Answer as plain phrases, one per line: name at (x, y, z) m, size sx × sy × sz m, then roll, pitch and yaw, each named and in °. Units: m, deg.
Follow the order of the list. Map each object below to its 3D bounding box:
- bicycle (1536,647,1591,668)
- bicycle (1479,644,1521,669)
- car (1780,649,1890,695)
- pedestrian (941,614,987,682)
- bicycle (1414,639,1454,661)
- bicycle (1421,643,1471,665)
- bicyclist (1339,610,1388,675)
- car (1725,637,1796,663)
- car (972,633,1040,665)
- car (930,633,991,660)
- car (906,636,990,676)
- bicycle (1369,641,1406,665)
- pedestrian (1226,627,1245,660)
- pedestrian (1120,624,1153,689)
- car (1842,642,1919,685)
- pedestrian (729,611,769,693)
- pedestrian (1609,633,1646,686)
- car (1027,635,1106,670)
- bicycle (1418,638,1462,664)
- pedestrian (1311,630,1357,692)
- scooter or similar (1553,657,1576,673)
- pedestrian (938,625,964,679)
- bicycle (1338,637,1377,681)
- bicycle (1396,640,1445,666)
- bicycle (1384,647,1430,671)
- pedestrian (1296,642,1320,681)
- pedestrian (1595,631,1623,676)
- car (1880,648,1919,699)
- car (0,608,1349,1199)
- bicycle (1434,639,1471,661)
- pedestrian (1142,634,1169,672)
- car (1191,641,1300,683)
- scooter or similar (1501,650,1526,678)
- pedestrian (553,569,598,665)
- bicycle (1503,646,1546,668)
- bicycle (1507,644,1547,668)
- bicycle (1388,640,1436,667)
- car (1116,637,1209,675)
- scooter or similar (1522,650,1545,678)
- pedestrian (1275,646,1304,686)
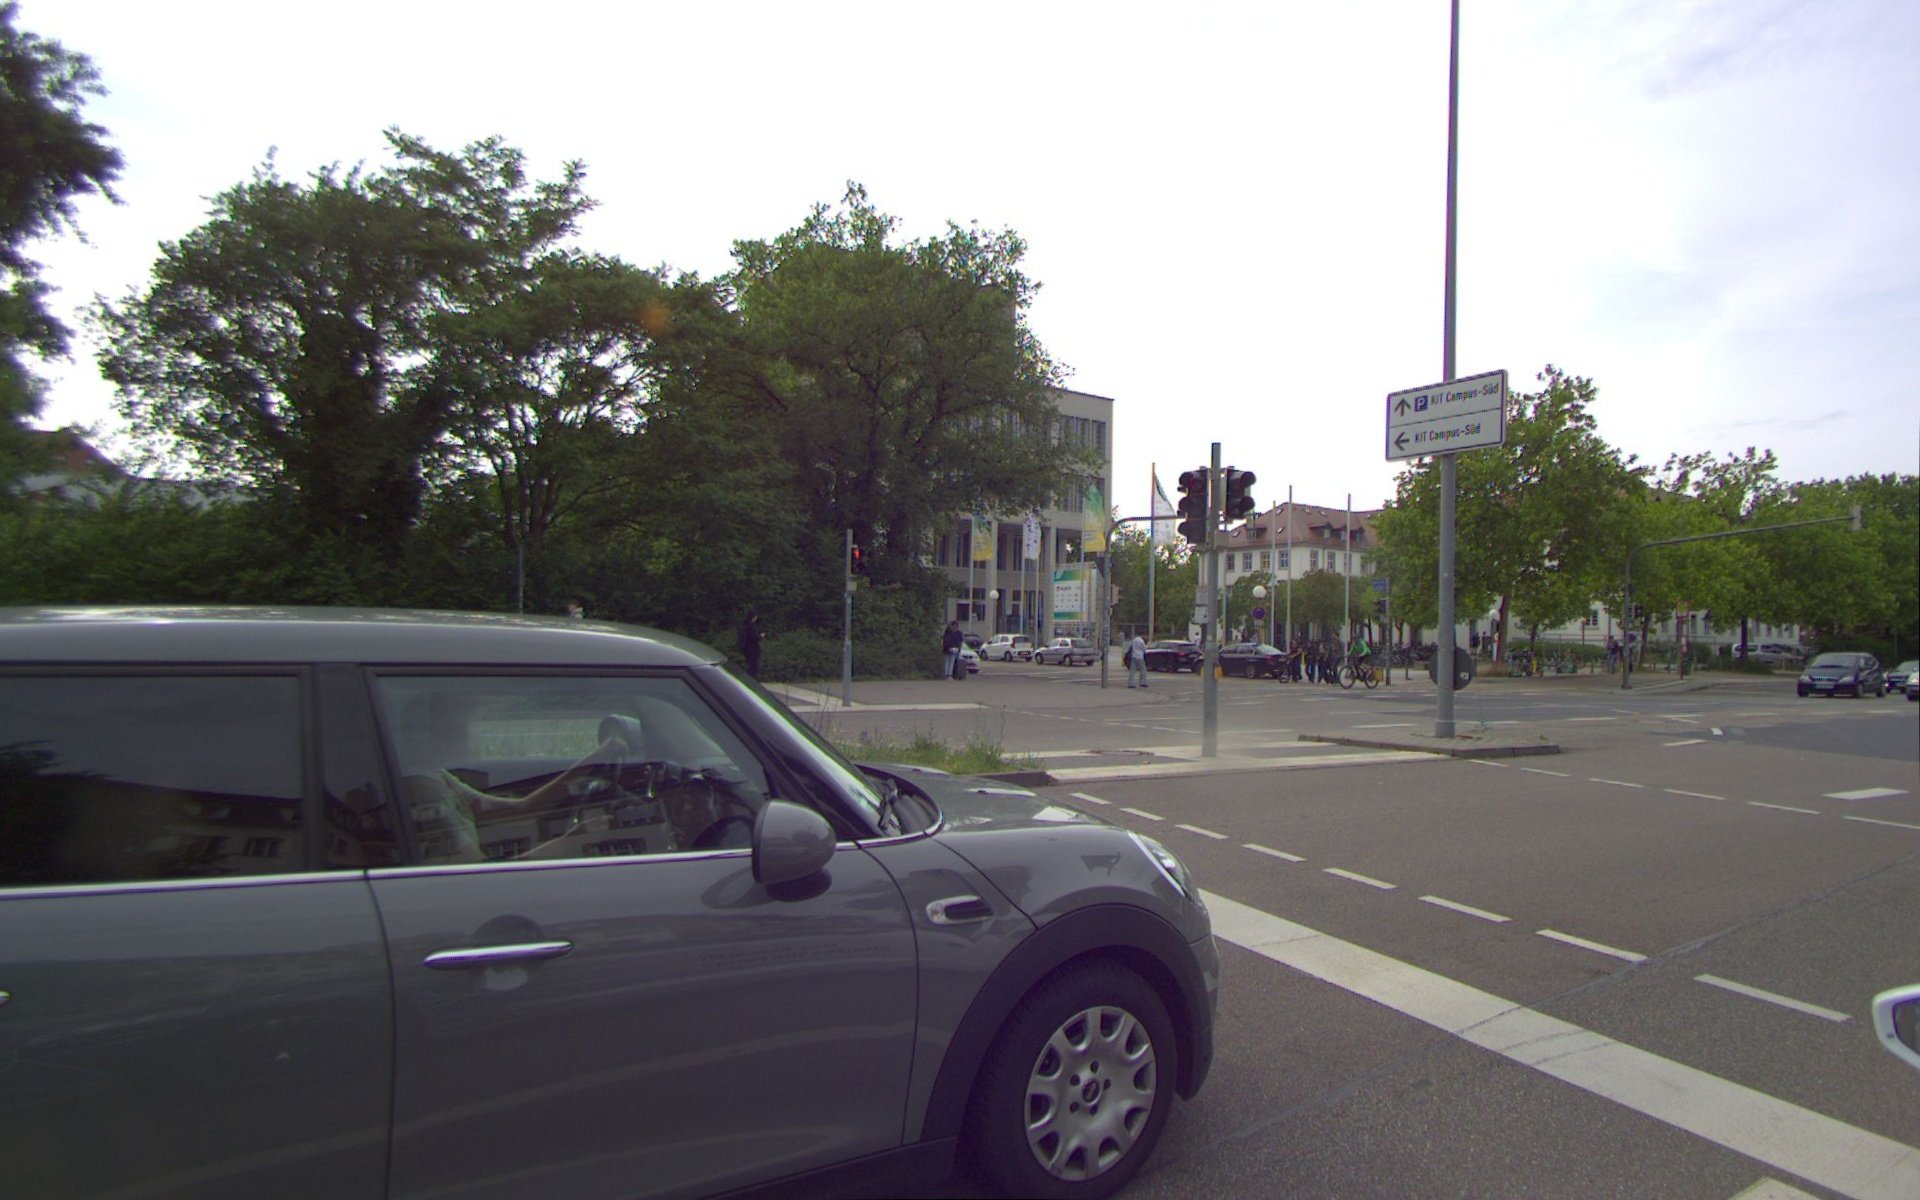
bicycle at (35.731, 3.385, 59.505) m, size 0.715 × 1.190 × 2.727 m, roll 2°, pitch -2°, yaw -37°
bicycle at (36.165, 3.750, 67.281) m, size 0.715 × 1.615 × 2.382 m, roll 2°, pitch -2°, yaw -37°
car at (30.924, 2.520, 35.489) m, size 3.653 × 1.483 × 1.844 m, roll 2°, pitch -2°, yaw -30°
pedestrian at (0.143, 1.491, 31.653) m, size 1.022 × 2.040 × 1.099 m, roll 2°, pitch 0°, yaw 25°
bicycle at (35.072, 3.685, 74.396) m, size 0.907 × 1.579 × 3.079 m, roll 1°, pitch -2°, yaw -16°
bicycle at (30.421, 3.369, 62.937) m, size 0.715 × 1.347 × 2.797 m, roll 2°, pitch -2°, yaw -37°
bicyclist at (13.281, 1.378, 33.030) m, size 1.165 × 2.040 × 1.277 m, roll 2°, pitch 0°, yaw 37°
car at (56.708, 3.499, 71.195) m, size 1.636 × 1.623 × 3.561 m, roll 2°, pitch 0°, yaw -35°
car at (2.594, 2.776, 56.959) m, size 1.835 × 1.706 × 3.962 m, roll 2°, pitch -2°, yaw -35°
car at (-0.009, 2.820, 61.015) m, size 1.869 × 1.573 × 3.964 m, roll 2°, pitch -2°, yaw -33°
car at (-0.532, 2.270, 41.390) m, size 1.844 × 1.469 × 3.562 m, roll 2°, pitch -1°, yaw -34°
bicycle at (29.516, 3.659, 69.389) m, size 0.907 × 1.579 × 2.658 m, roll 1°, pitch -2°, yaw -16°
pedestrian at (17.335, 2.762, 63.217) m, size 0.783 × 2.040 × 1.092 m, roll -1°, pitch -3°, yaw 39°
pedestrian at (5.775, 1.847, 32.845) m, size 0.844 × 2.086 × 0.662 m, roll 2°, pitch -2°, yaw -34°
car at (37.713, 2.553, 40.482) m, size 3.949 × 1.641 × 1.986 m, roll 2°, pitch -2°, yaw -28°
pedestrian at (-4.535, 1.113, 21.618) m, size 0.645 × 1.717 × 0.586 m, roll 2°, pitch 0°, yaw -31°
pedestrian at (25.918, 2.305, 38.994) m, size 1.000 × 2.040 × 0.888 m, roll 2°, pitch -2°, yaw -36°
car at (5.557, 2.714, 52.732) m, size 1.980 × 1.601 × 3.961 m, roll 2°, pitch 0°, yaw -34°
bicycle at (30.712, 3.244, 64.272) m, size 0.916 × 1.579 × 2.421 m, roll 3°, pitch -2°, yaw -43°
pedestrian at (12.832, 2.060, 34.476) m, size 1.165 × 2.040 × 1.138 m, roll 2°, pitch 0°, yaw 37°
scooter or similar at (28.838, 3.092, 47.925) m, size 1.274 × 0.703 × 0.404 m, roll 1°, pitch 0°, yaw -31°
pedestrian at (-0.263, 1.605, 30.670) m, size 0.598 × 1.627 × 0.497 m, roll 2°, pitch -5°, yaw -42°
bicycle at (13.185, 1.934, 33.254) m, size 0.597 × 1.351 × 2.303 m, roll 2°, pitch 0°, yaw 37°
bicycle at (28.659, 3.296, 62.519) m, size 0.916 × 1.579 × 2.633 m, roll 3°, pitch -2°, yaw -43°
bicycle at (26.787, 3.543, 60.209) m, size 0.715 × 1.371 × 2.466 m, roll 2°, pitch -2°, yaw -37°
pedestrian at (13.528, 2.395, 39.021) m, size 0.687 × 1.447 × 0.999 m, roll 2°, pitch 0°, yaw 28°
pedestrian at (30.521, 2.503, 47.235) m, size 0.919 × 2.040 × 0.795 m, roll 2°, pitch 0°, yaw -40°
car at (31.782, 2.362, 32.250) m, size 4.220 × 1.549 × 1.986 m, roll 2°, pitch -2°, yaw -28°
car at (-0.883, 0.731, 2.593) m, size 3.662 × 1.335 × 1.614 m, roll 2°, pitch -2°, yaw -30°
bicycle at (36.782, 3.695, 75.067) m, size 0.907 × 1.579 × 2.658 m, roll 1°, pitch -2°, yaw -16°
pedestrian at (10.568, 2.857, 54.348) m, size 1.007 × 2.040 × 0.996 m, roll 2°, pitch -2°, yaw -34°
car at (12.159, 2.611, 43.010) m, size 1.982 × 1.491 × 4.111 m, roll 2°, pitch 0°, yaw -37°
scooter or similar at (23.379, 2.700, 42.404) m, size 1.306 × 1.155 × 0.358 m, roll 2°, pitch -2°, yaw -34°
pedestrian at (-8.415, 0.391, 21.963) m, size 0.811 × 2.040 × 0.904 m, roll 2°, pitch -2°, yaw -26°
bicycle at (31.659, 3.189, 56.348) m, size 2.005 × 1.168 × 0.718 m, roll -1°, pitch -2°, yaw 39°
bicycle at (39.524, 3.887, 70.069) m, size 0.715 × 1.615 × 2.382 m, roll 2°, pitch -2°, yaw -37°
bicycle at (27.421, 3.225, 60.995) m, size 0.774 × 1.579 × 2.637 m, roll 2°, pitch -2°, yaw -38°
car at (9.422, 2.575, 46.921) m, size 1.982 × 1.491 × 3.958 m, roll 2°, pitch 0°, yaw -37°
scooter or similar at (24.719, 2.753, 43.286) m, size 1.306 × 1.155 × 0.358 m, roll 2°, pitch -2°, yaw -34°
pedestrian at (13.040, 2.607, 39.759) m, size 0.812 × 1.533 × 0.972 m, roll -1°, pitch -2°, yaw 37°
